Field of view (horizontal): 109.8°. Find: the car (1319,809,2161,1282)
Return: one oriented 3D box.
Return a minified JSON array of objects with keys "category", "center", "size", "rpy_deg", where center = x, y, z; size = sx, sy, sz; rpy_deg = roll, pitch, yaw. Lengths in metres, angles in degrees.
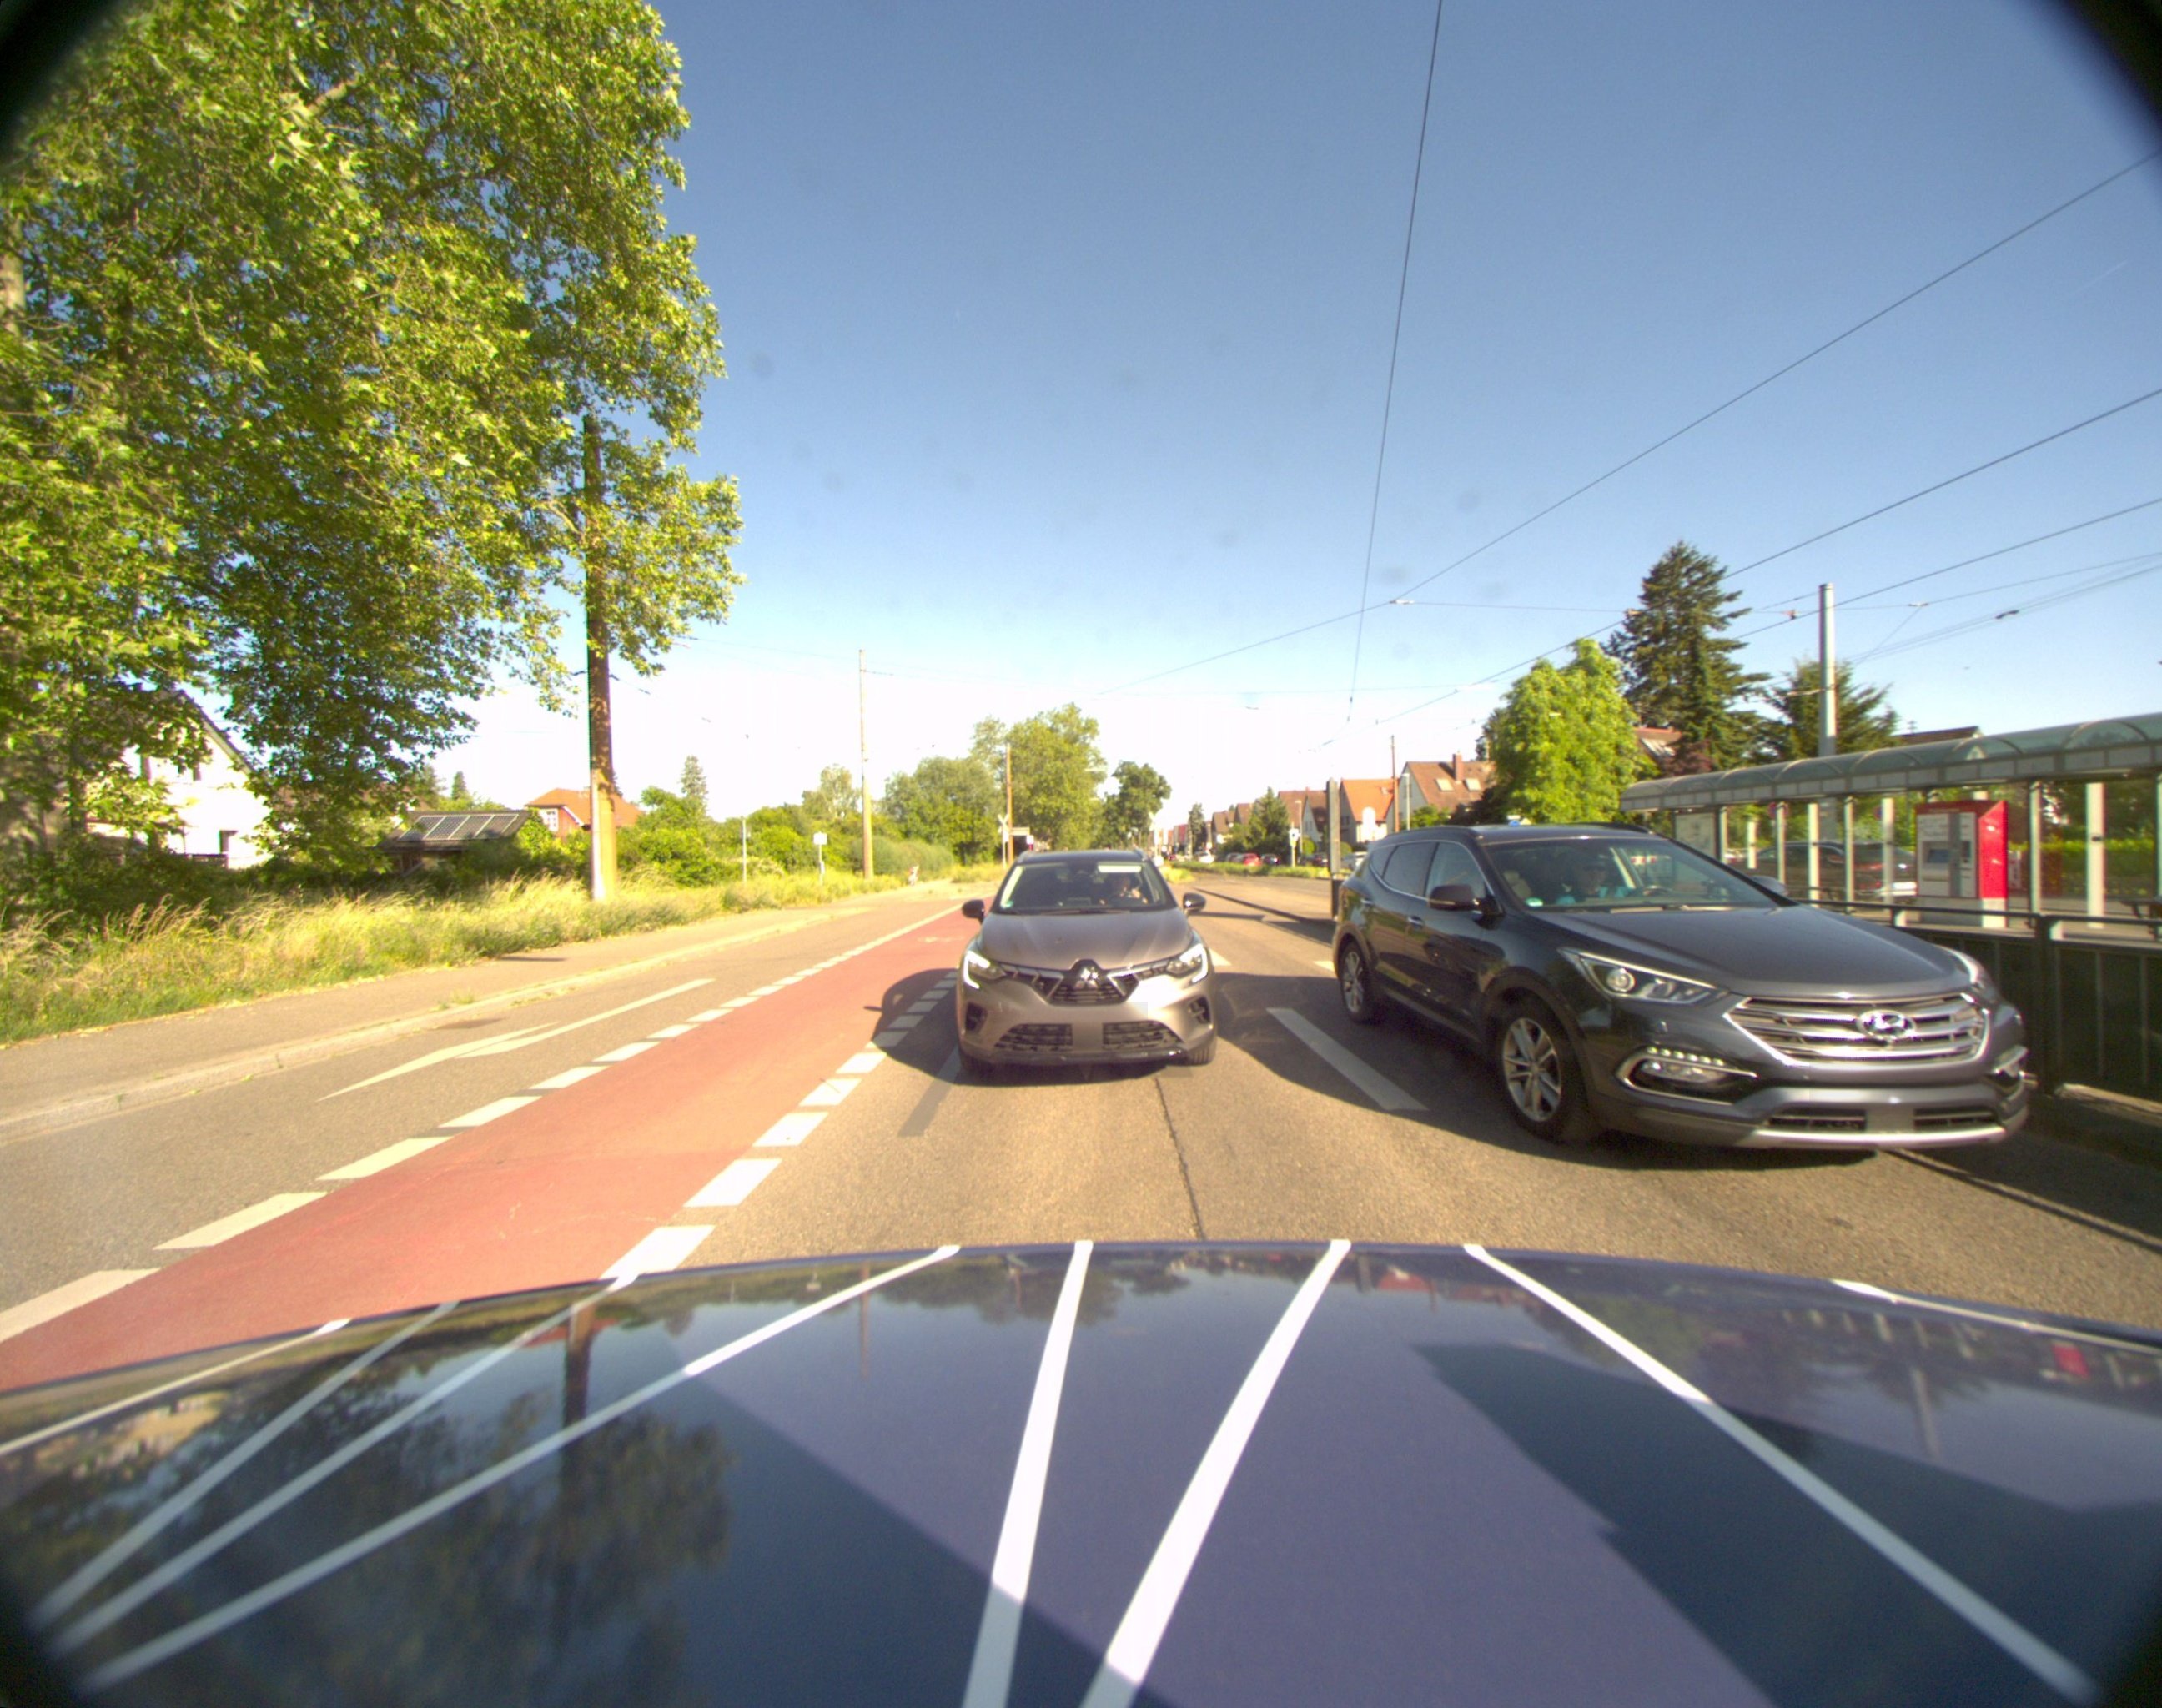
[{"category":"car","center":[3.187,0.696,4.910],"size":[1.886,1.686,4.300],"rpy_deg":[-1,0,-1]}]

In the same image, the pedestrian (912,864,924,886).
[{"category":"pedestrian","center":[-7.999,1.019,37.260],"size":[0.482,1.027,0.454],"rpy_deg":[-1,0,1]}]

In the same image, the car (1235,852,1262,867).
[{"category":"car","center":[16.912,0.501,76.889],"size":[1.998,1.455,4.000],"rpy_deg":[-1,0,1]}]

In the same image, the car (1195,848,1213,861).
[{"category":"car","center":[17.294,0.053,106.817],"size":[1.998,1.761,4.000],"rpy_deg":[-1,0,1]}]

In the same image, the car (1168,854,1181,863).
[{"category":"car","center":[17.359,0.810,141.187],"size":[1.998,1.652,4.000],"rpy_deg":[-1,0,1]}]

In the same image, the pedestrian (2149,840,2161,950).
[{"category":"pedestrian","center":[14.125,0.515,9.476],"size":[0.623,1.406,0.711],"rpy_deg":[-1,0,-1]}]

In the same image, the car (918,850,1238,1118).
[{"category":"car","center":[0.008,0.763,6.342],"size":[1.839,1.541,3.816],"rpy_deg":[-1,0,1]}]
